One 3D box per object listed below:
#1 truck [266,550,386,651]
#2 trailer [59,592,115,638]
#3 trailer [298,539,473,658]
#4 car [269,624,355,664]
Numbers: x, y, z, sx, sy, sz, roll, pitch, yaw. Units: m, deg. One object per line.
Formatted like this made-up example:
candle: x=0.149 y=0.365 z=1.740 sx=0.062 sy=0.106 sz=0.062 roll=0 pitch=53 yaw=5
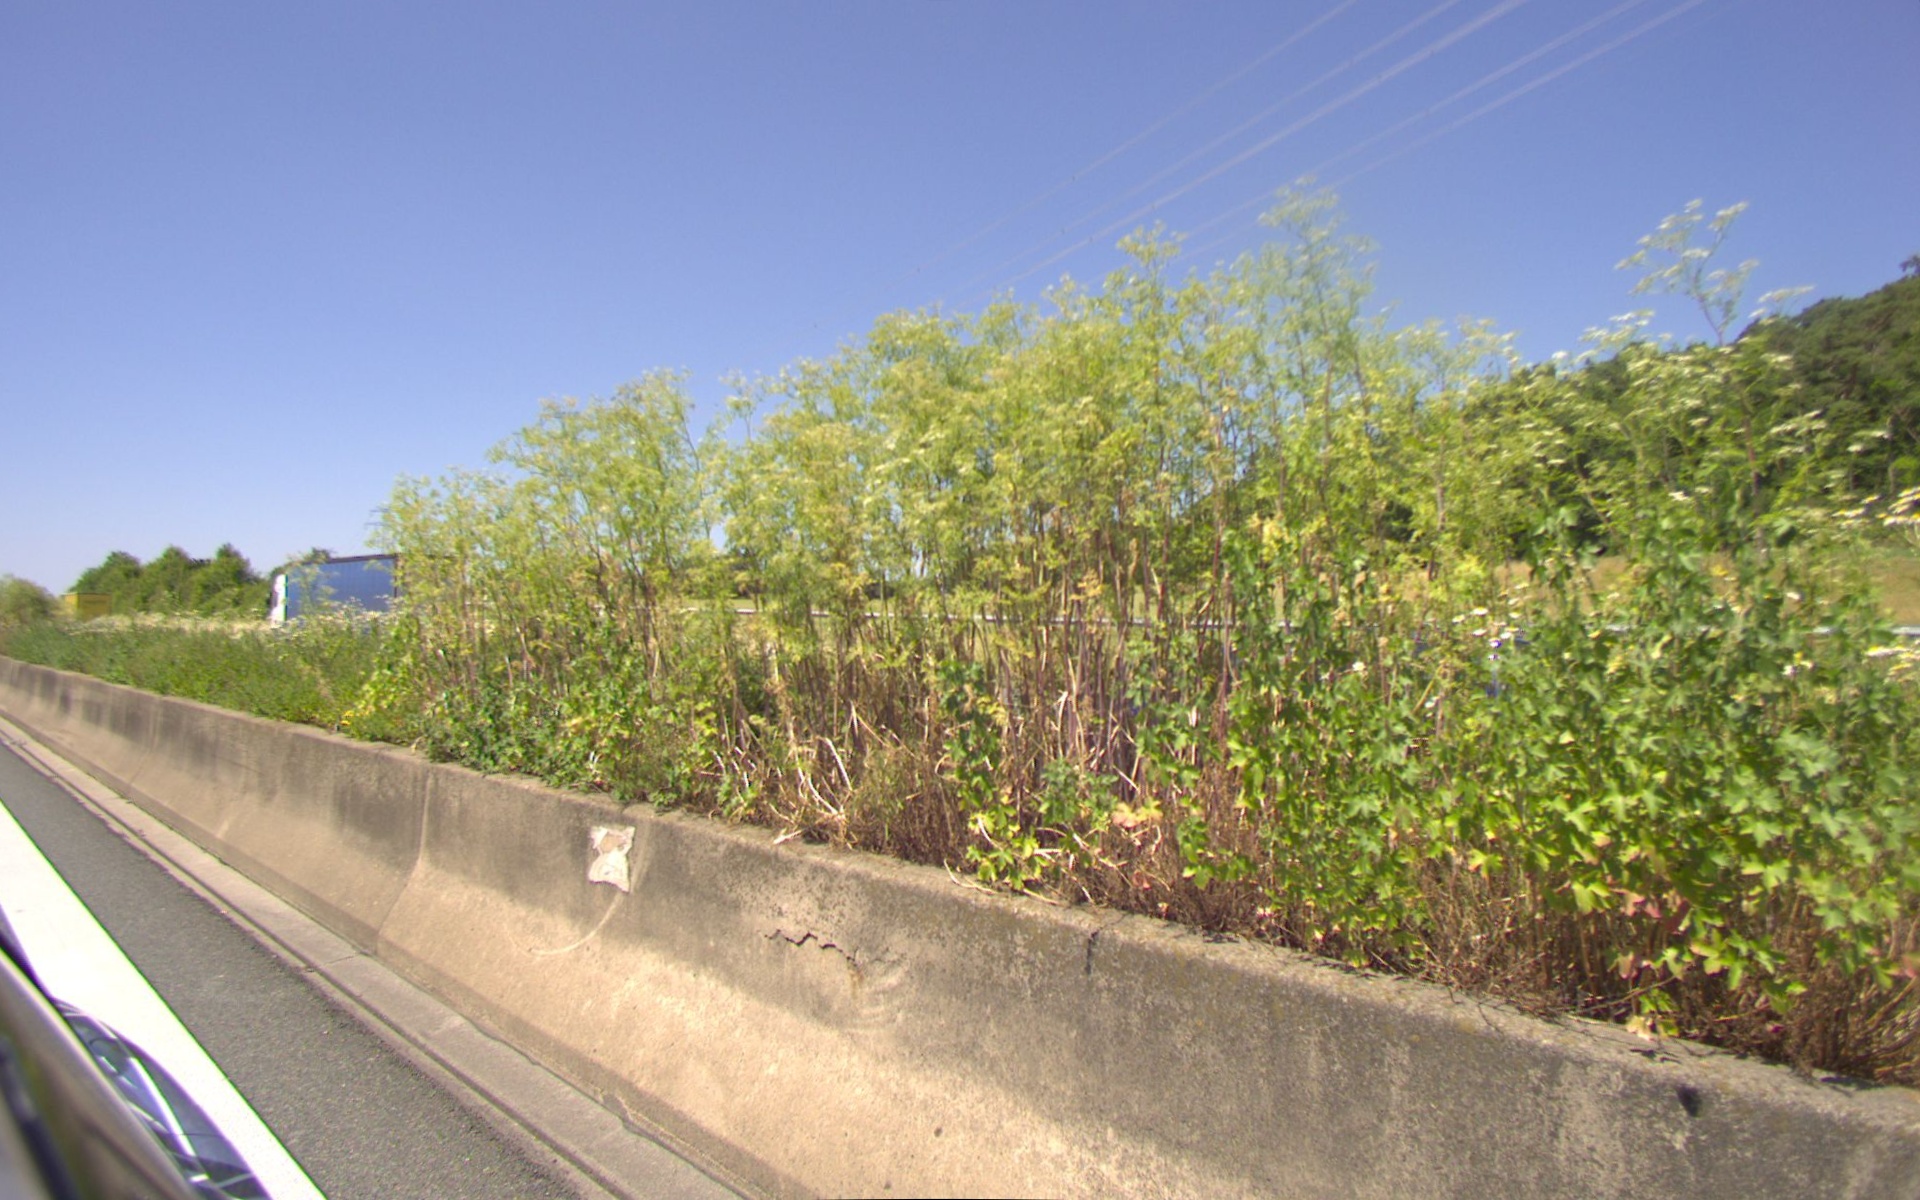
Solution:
truck: x=-29.042 y=0.050 z=46.248 sx=6.685 sy=4.260 sz=2.979 roll=-1 pitch=-1 yaw=43
trailer: x=-85.577 y=1.384 z=99.111 sx=10.683 sy=4.238 sz=2.792 roll=0 pitch=1 yaw=42
trailer: x=-23.582 y=-0.005 z=41.150 sx=10.980 sy=4.260 sz=2.979 roll=-1 pitch=-1 yaw=43
car: x=-21.427 y=1.423 z=33.441 sx=3.391 sy=1.247 sz=1.519 roll=-1 pitch=-1 yaw=41
